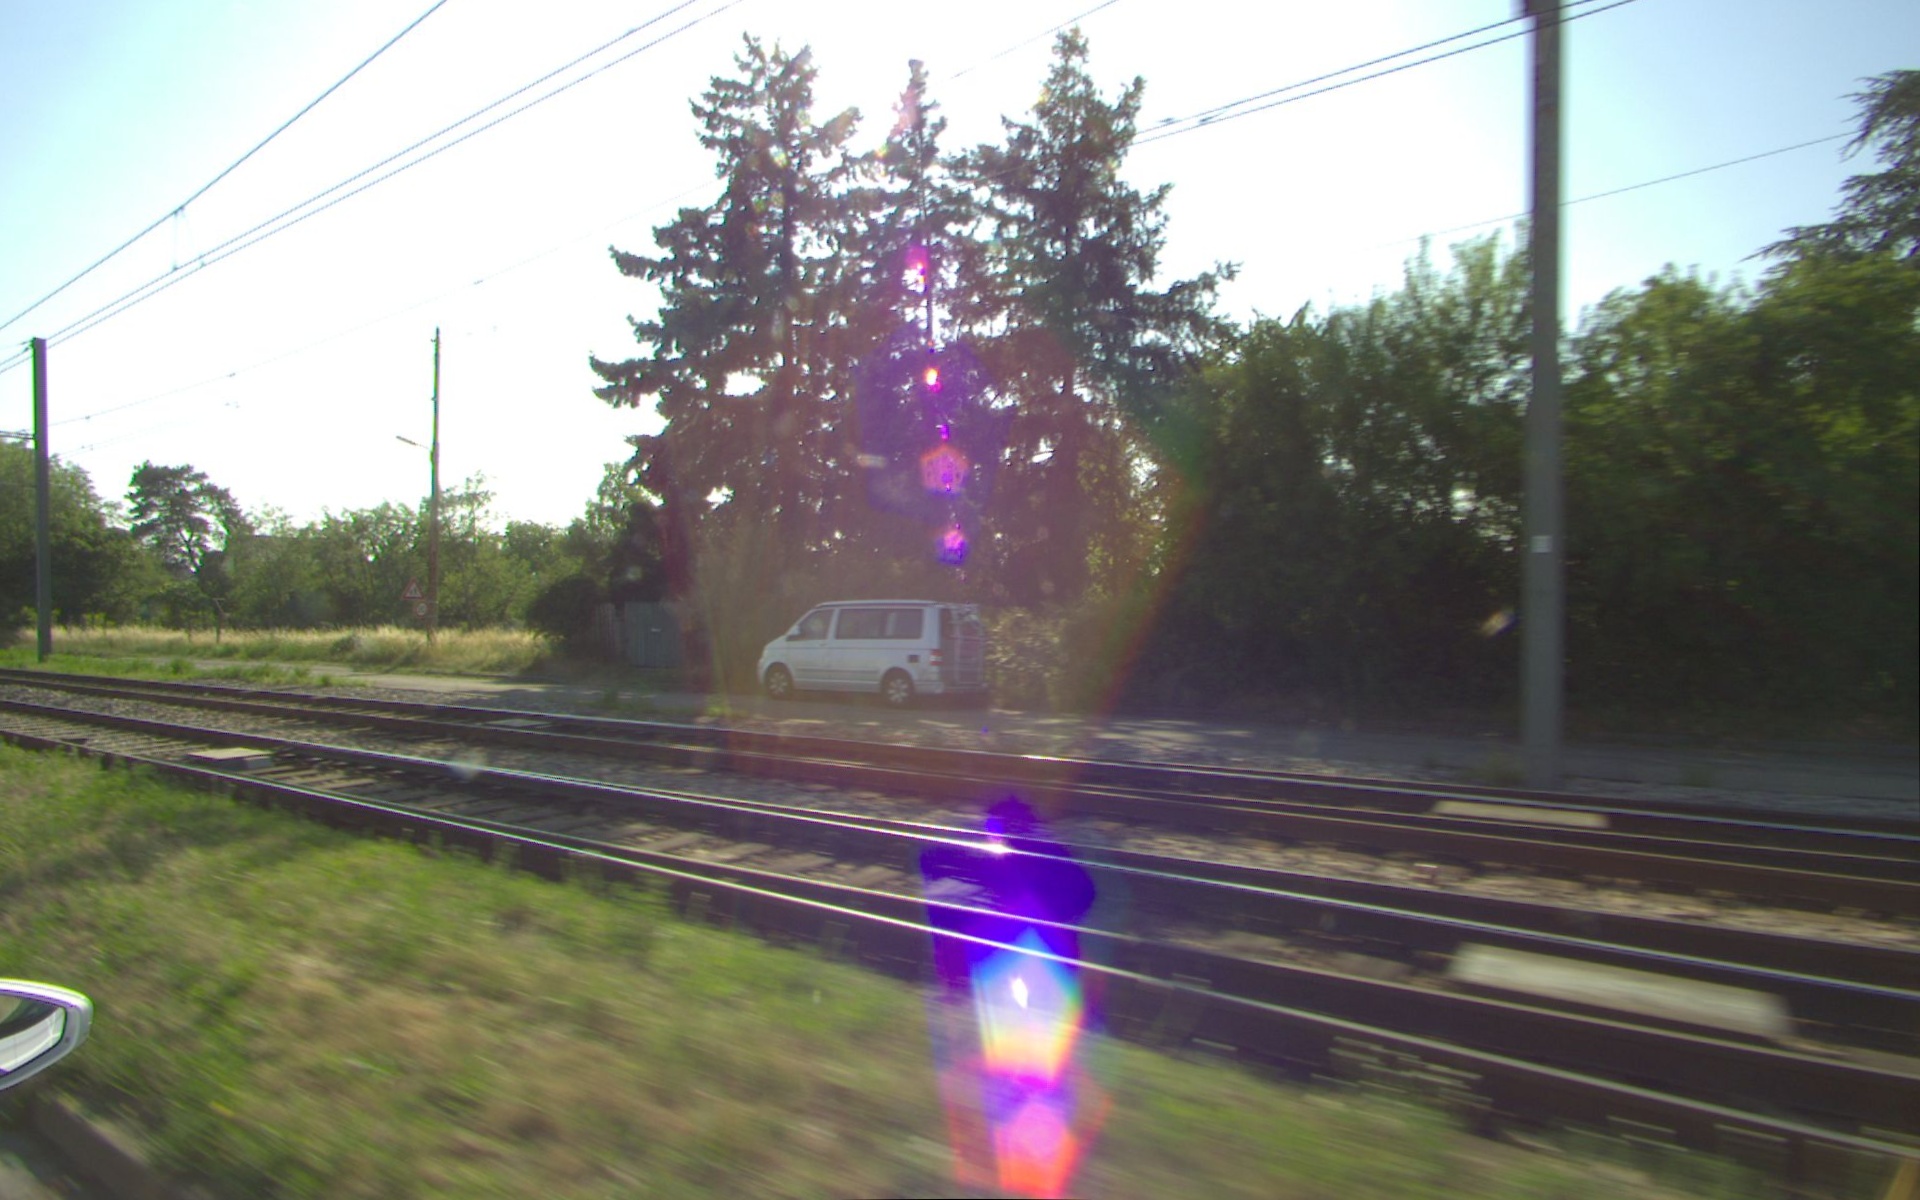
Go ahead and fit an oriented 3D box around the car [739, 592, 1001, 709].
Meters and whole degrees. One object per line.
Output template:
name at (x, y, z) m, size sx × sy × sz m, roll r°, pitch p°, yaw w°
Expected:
car at (-1.838, 0.982, 19.734) m, size 4.997 × 2.029 × 1.990 m, roll -1°, pitch -4°, yaw 34°
